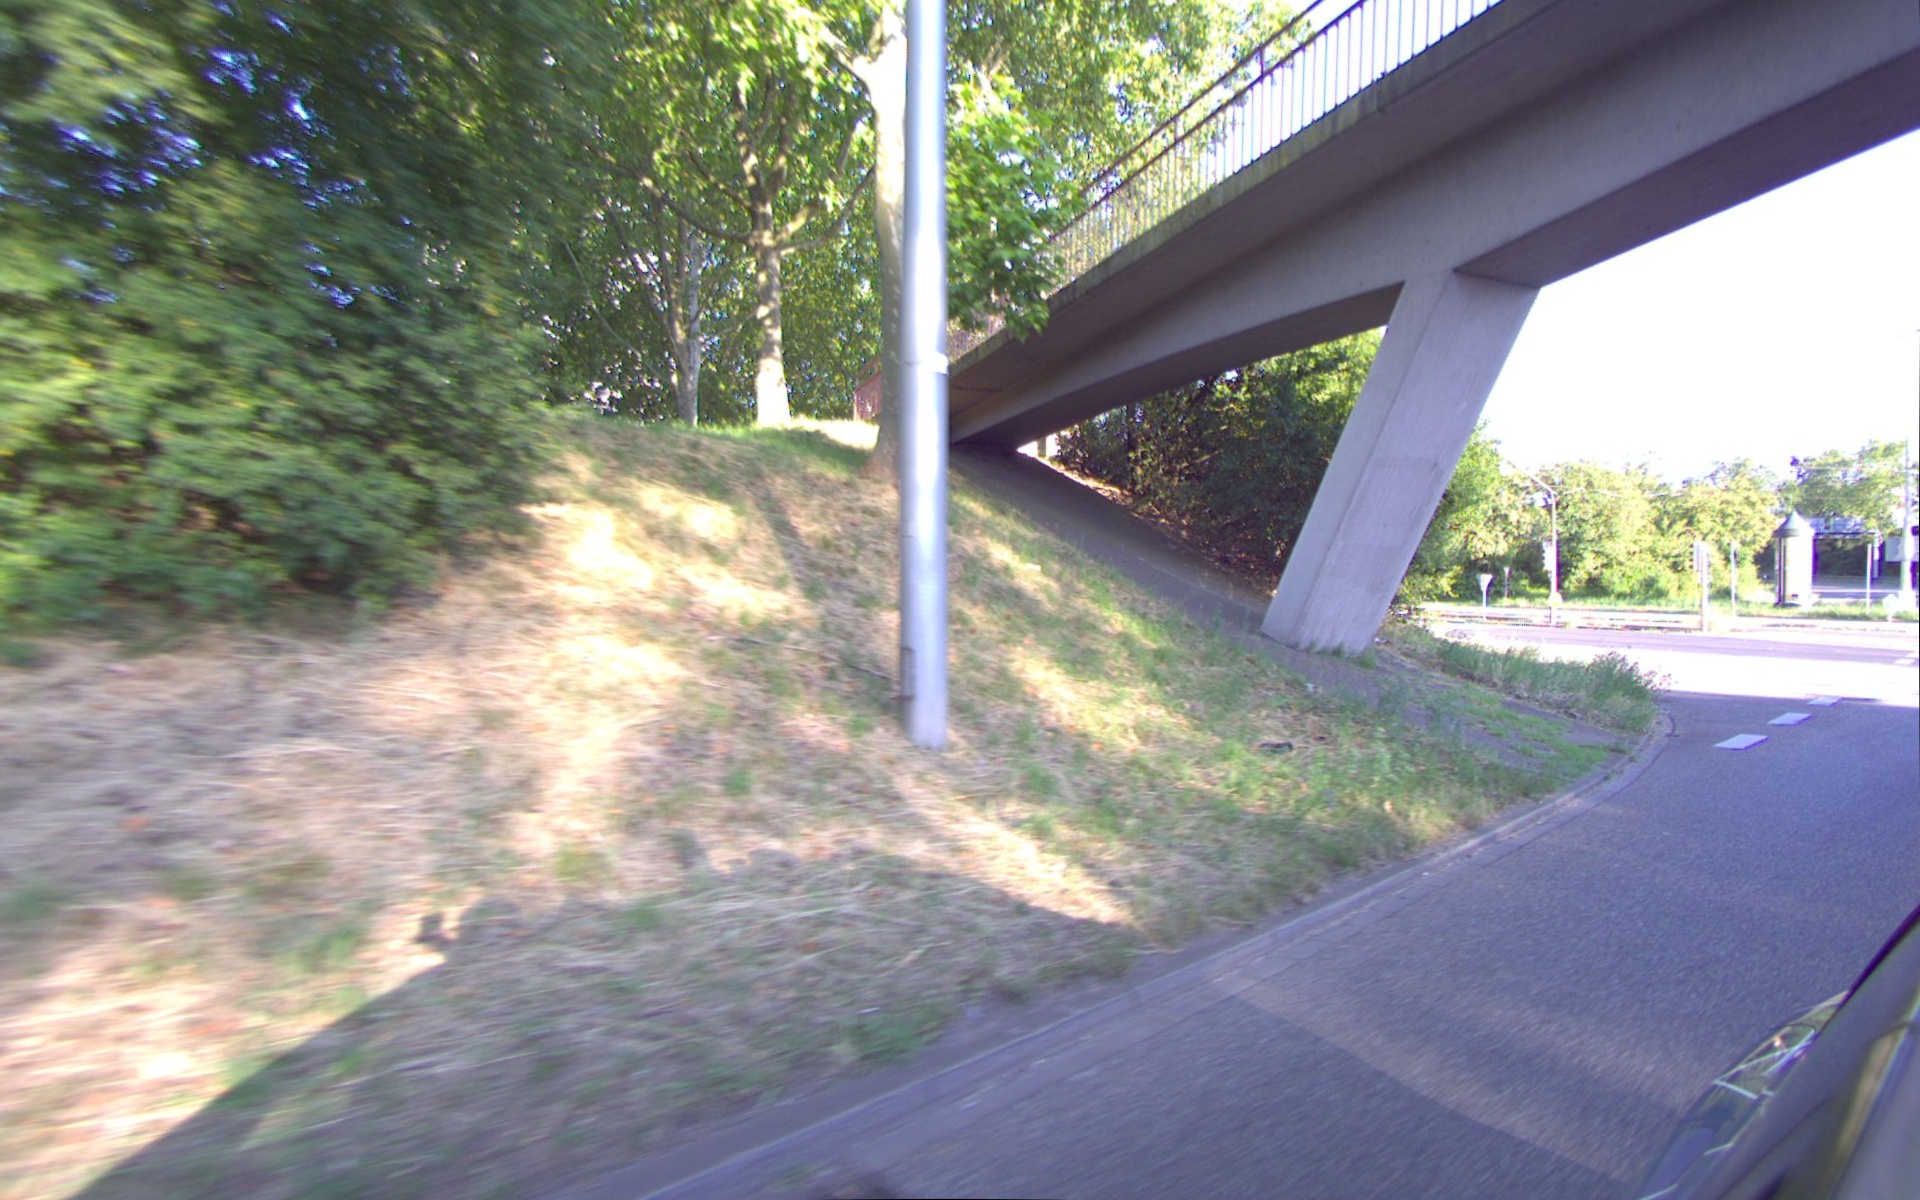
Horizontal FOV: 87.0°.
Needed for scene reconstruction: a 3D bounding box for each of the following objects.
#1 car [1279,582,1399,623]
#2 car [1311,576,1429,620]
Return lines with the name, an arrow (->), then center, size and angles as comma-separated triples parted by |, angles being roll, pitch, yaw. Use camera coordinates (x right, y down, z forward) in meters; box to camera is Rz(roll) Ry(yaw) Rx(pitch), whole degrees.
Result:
car -> 14.696, 0.056, 39.492 | 1.753, 1.435, 4.522 | 0, 2, -23
car -> 17.002, -0.146, 42.207 | 1.881, 1.702, 4.612 | 0, 2, -21
